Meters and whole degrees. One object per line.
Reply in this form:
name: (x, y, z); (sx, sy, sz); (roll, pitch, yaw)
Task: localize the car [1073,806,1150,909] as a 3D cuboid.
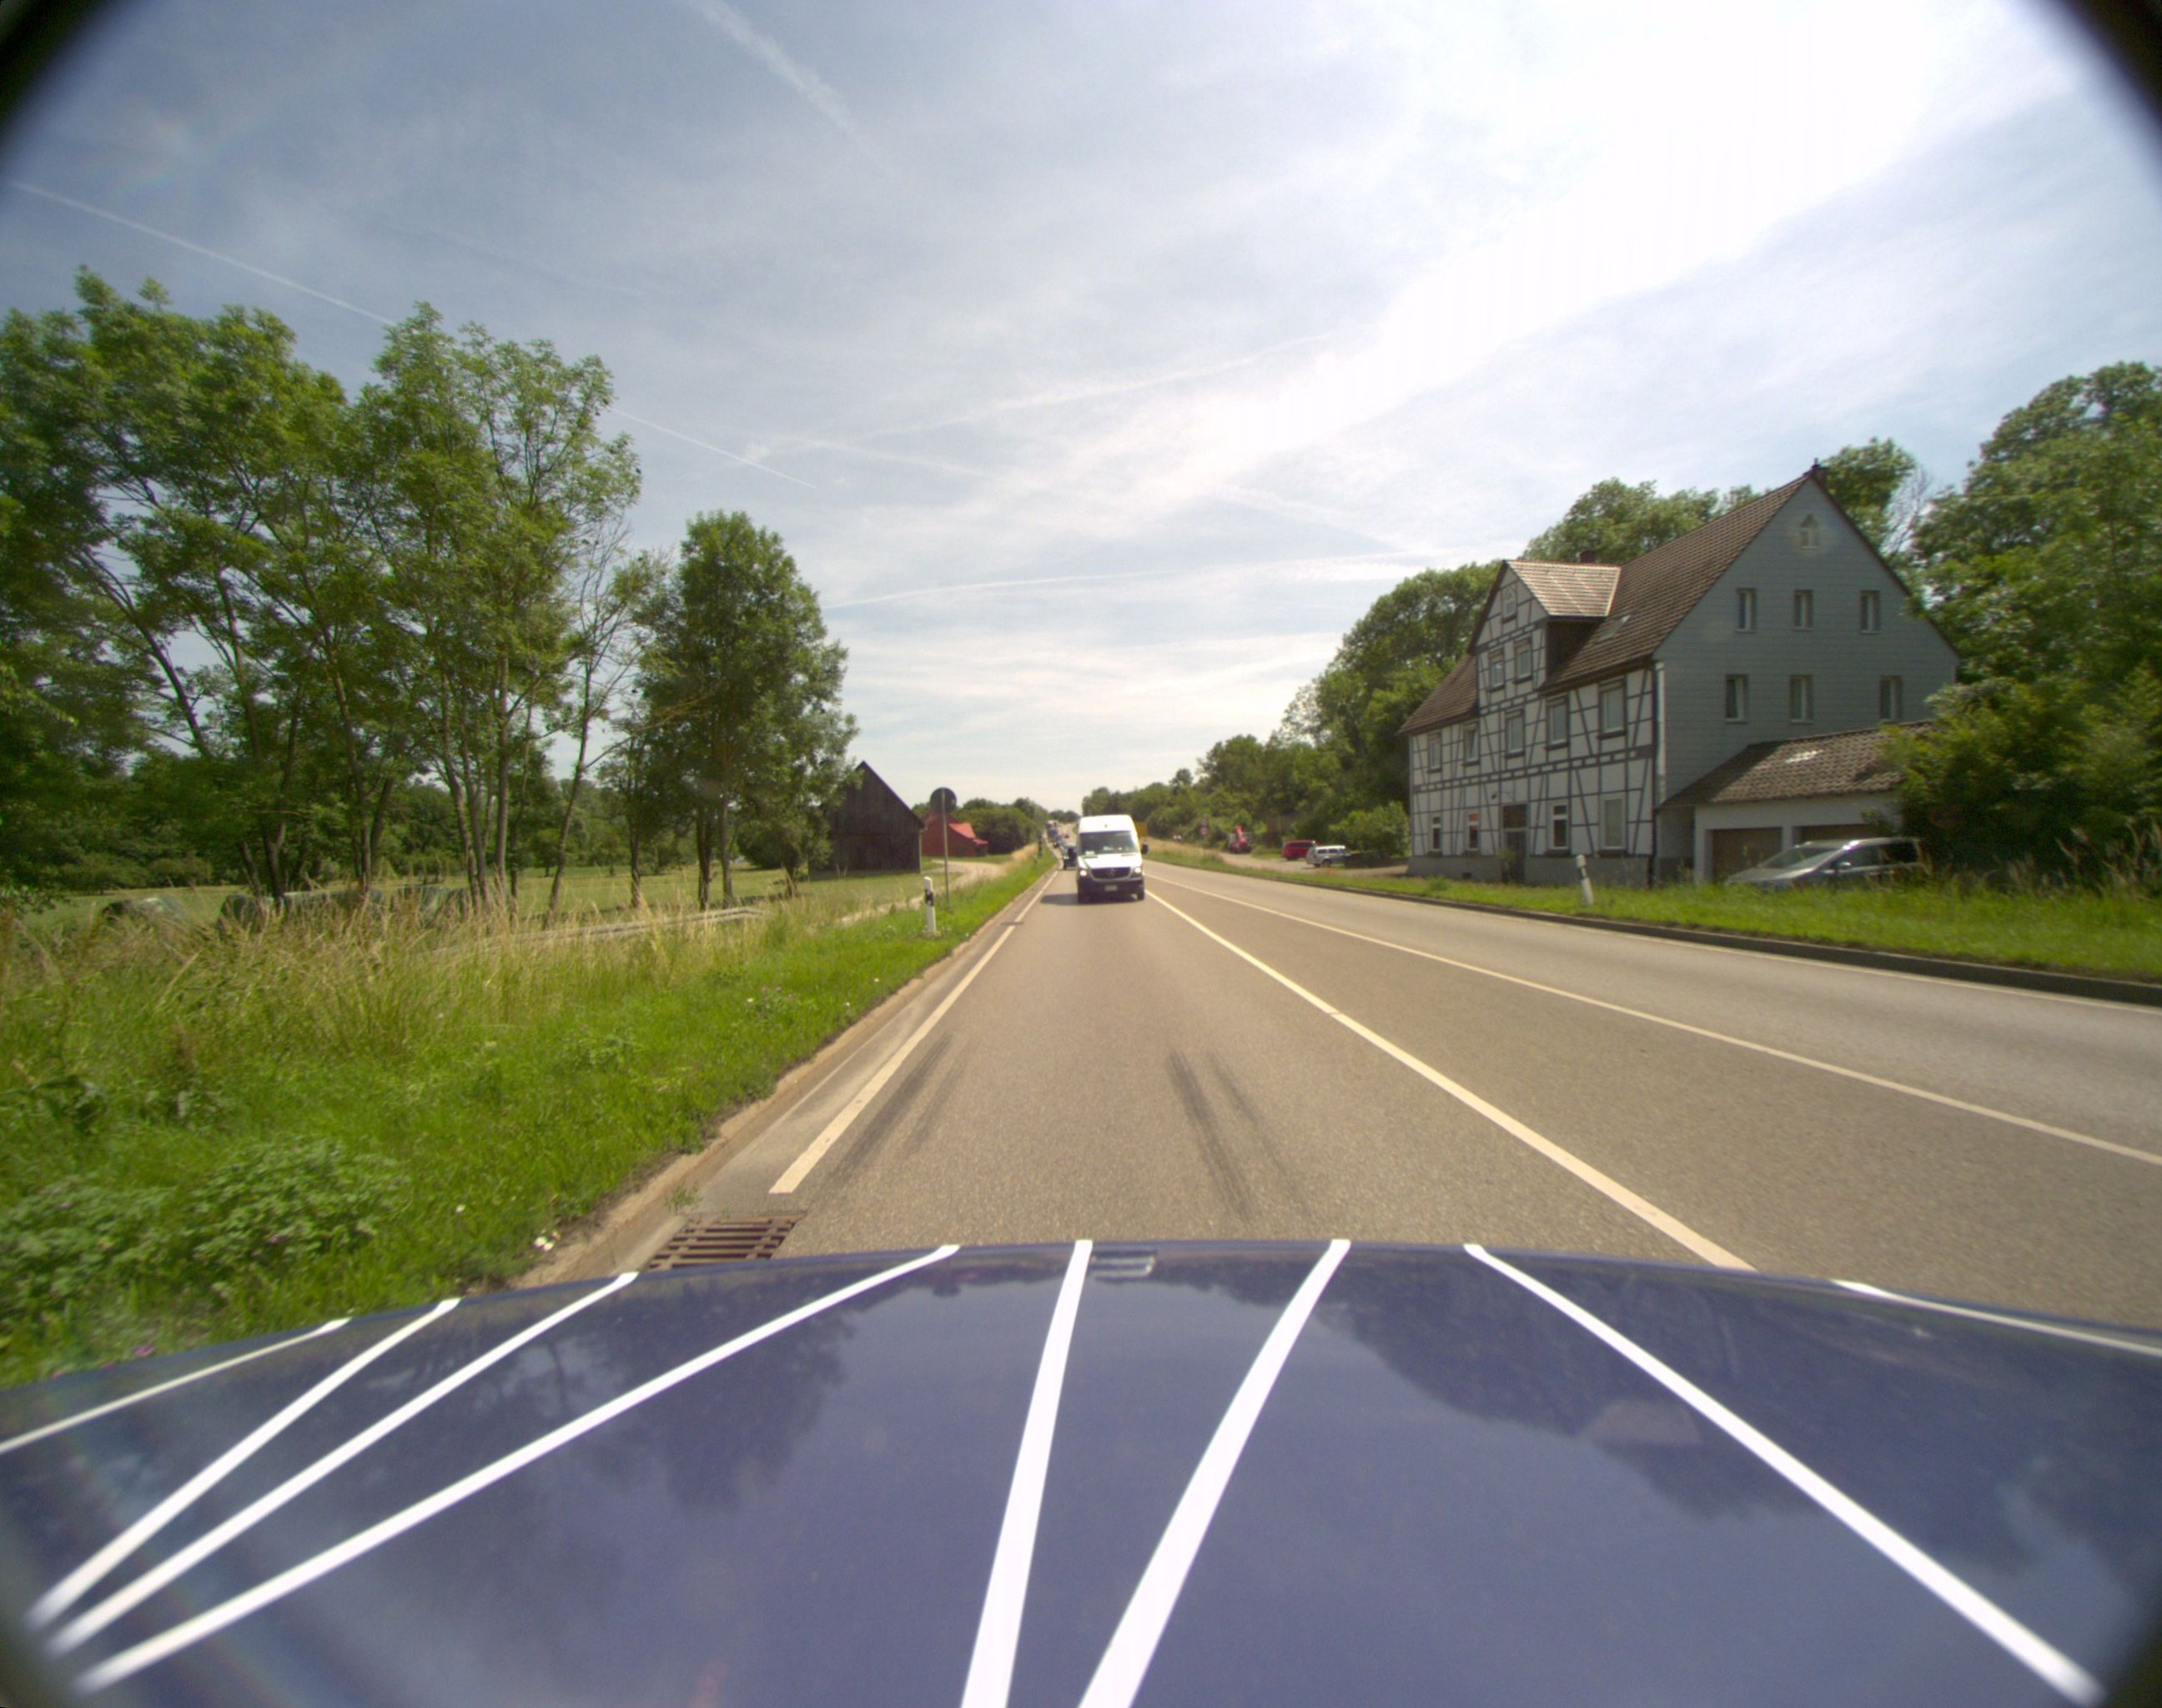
car: (0.803, 0.044, 22.945); (1.961, 2.656, 5.679); (-2, 1, 0)

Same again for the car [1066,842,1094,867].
car: (-0.094, 0.048, 53.294); (1.848, 1.692, 4.242); (-1, 0, 0)

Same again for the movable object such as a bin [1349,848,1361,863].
movable object such as a bin: (18.365, 0.103, 50.927); (0.505, 0.964, 0.654); (-2, 3, -8)

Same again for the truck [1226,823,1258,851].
truck: (17.785, -1.893, 84.268); (2.031, 2.947, 6.771); (-3, 2, 1)

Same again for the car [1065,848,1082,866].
car: (-0.841, 0.303, 84.891); (1.848, 1.693, 4.240); (-1, 2, -1)

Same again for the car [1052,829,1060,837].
car: (-7.046, -5.909, 216.789); (1.998, 2.166, 3.999); (-2, 1, 0)

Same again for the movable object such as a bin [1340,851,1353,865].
movable object such as a bin: (17.779, 0.261, 50.885); (0.505, 0.931, 0.654); (-2, 3, -8)

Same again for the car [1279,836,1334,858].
car: (18.831, -0.578, 63.454); (4.037, 1.609, 1.832); (-2, 2, 1)

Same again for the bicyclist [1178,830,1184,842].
bicyclist: (14.654, -2.682, 111.390); (0.750, 1.705, 0.936); (-3, 2, 2)

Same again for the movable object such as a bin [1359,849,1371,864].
movable object such as a bin: (19.094, 0.146, 51.022); (0.505, 0.966, 0.654); (-2, 3, -8)

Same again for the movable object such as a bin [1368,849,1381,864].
movable object such as a bin: (19.725, 0.143, 51.042); (0.505, 0.971, 0.654); (-2, 3, -8)

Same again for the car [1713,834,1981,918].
car: (18.143, 0.510, 18.130); (4.677, 1.710, 1.861); (-2, -1, -4)

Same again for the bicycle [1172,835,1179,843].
bicycle: (14.281, -2.275, 115.046); (0.750, 1.206, 2.104); (-3, 2, 0)

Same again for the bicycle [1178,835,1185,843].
bicycle: (14.681, -2.168, 111.398); (0.750, 1.174, 2.104); (-3, 2, 2)

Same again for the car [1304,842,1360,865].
car: (17.648, -0.030, 53.479); (3.387, 1.457, 1.609); (-3, 2, -6)

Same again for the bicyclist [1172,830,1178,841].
bicyclist: (14.260, -2.750, 115.070); (0.750, 1.586, 0.936); (-3, 2, 0)

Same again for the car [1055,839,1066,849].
car: (-3.921, -1.949, 145.127); (1.849, 1.693, 4.240); (-1, 2, -2)
